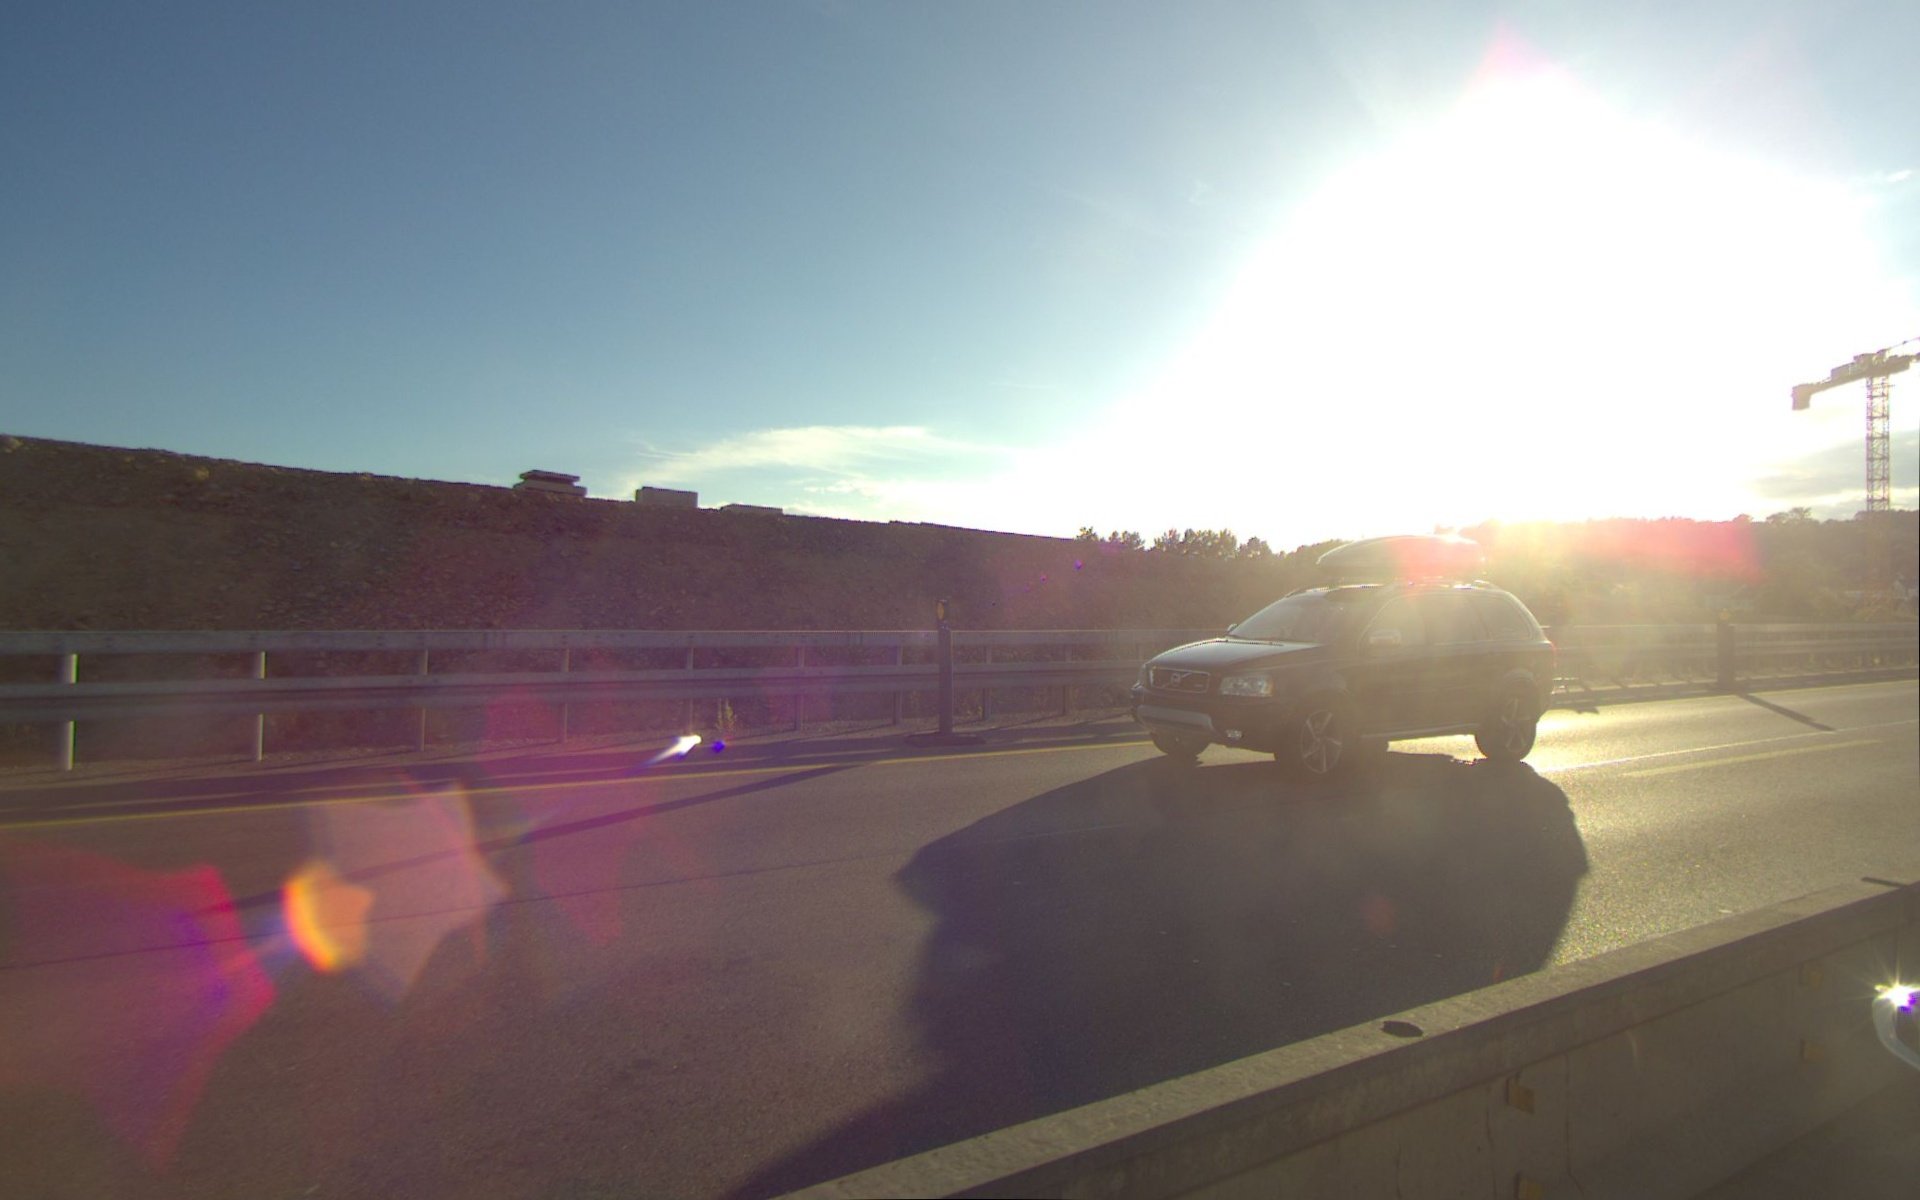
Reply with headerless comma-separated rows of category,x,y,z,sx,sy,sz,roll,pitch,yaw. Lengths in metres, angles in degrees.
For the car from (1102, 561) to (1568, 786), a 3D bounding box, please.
car,3.770,0.624,9.952,4.388,1.788,1.984,1,0,-30
